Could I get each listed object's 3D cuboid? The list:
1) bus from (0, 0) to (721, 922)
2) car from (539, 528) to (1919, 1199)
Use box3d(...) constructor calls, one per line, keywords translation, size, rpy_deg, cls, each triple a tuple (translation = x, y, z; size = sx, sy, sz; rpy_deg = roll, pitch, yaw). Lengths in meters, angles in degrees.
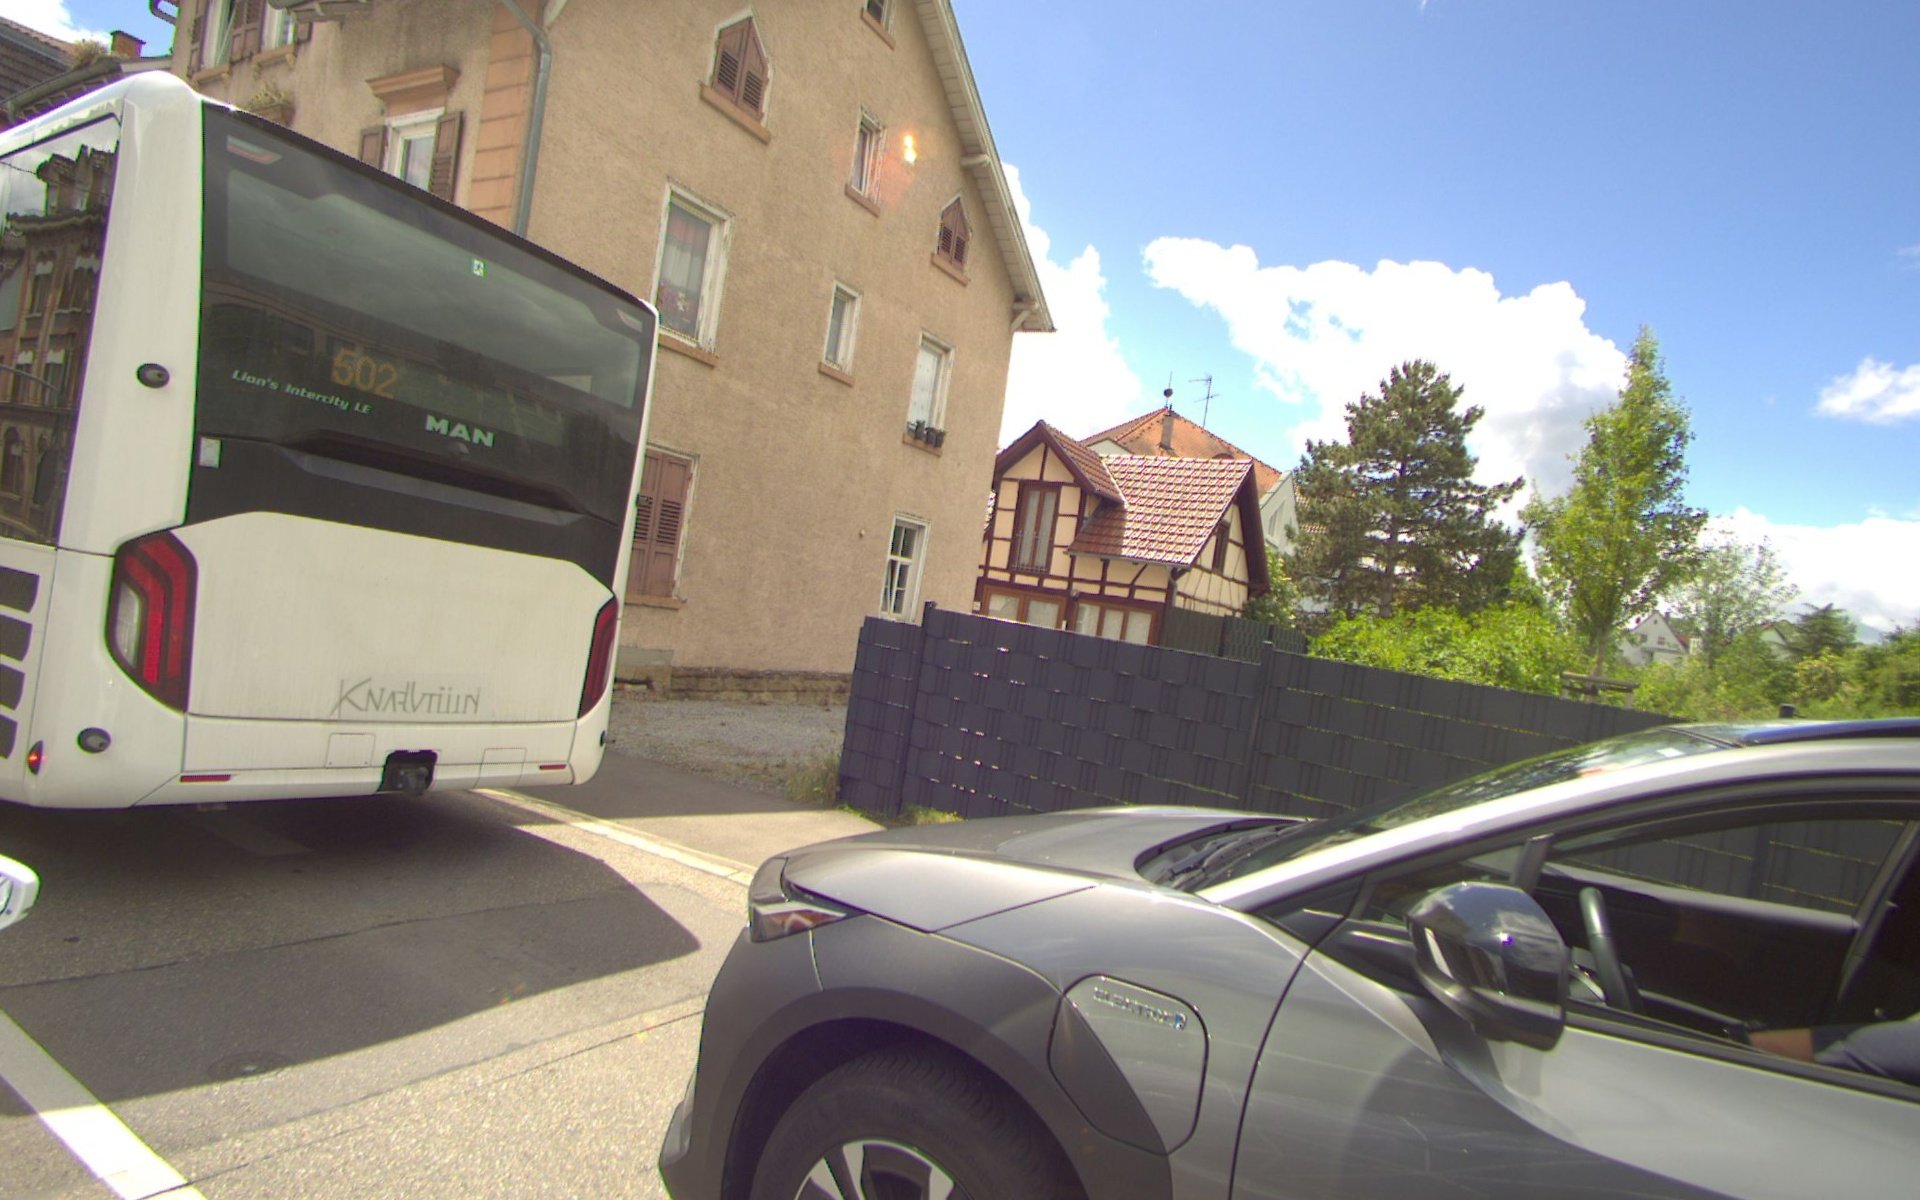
box3d(translation=(-7.538, -1.090, 7.840), size=(12.281, 3.551, 2.910), rpy_deg=(6, -2, 32), cls="bus")
box3d(translation=(1.586, 0.974, 1.852), size=(4.504, 1.648, 1.997), rpy_deg=(7, -1, 31), cls="car")
